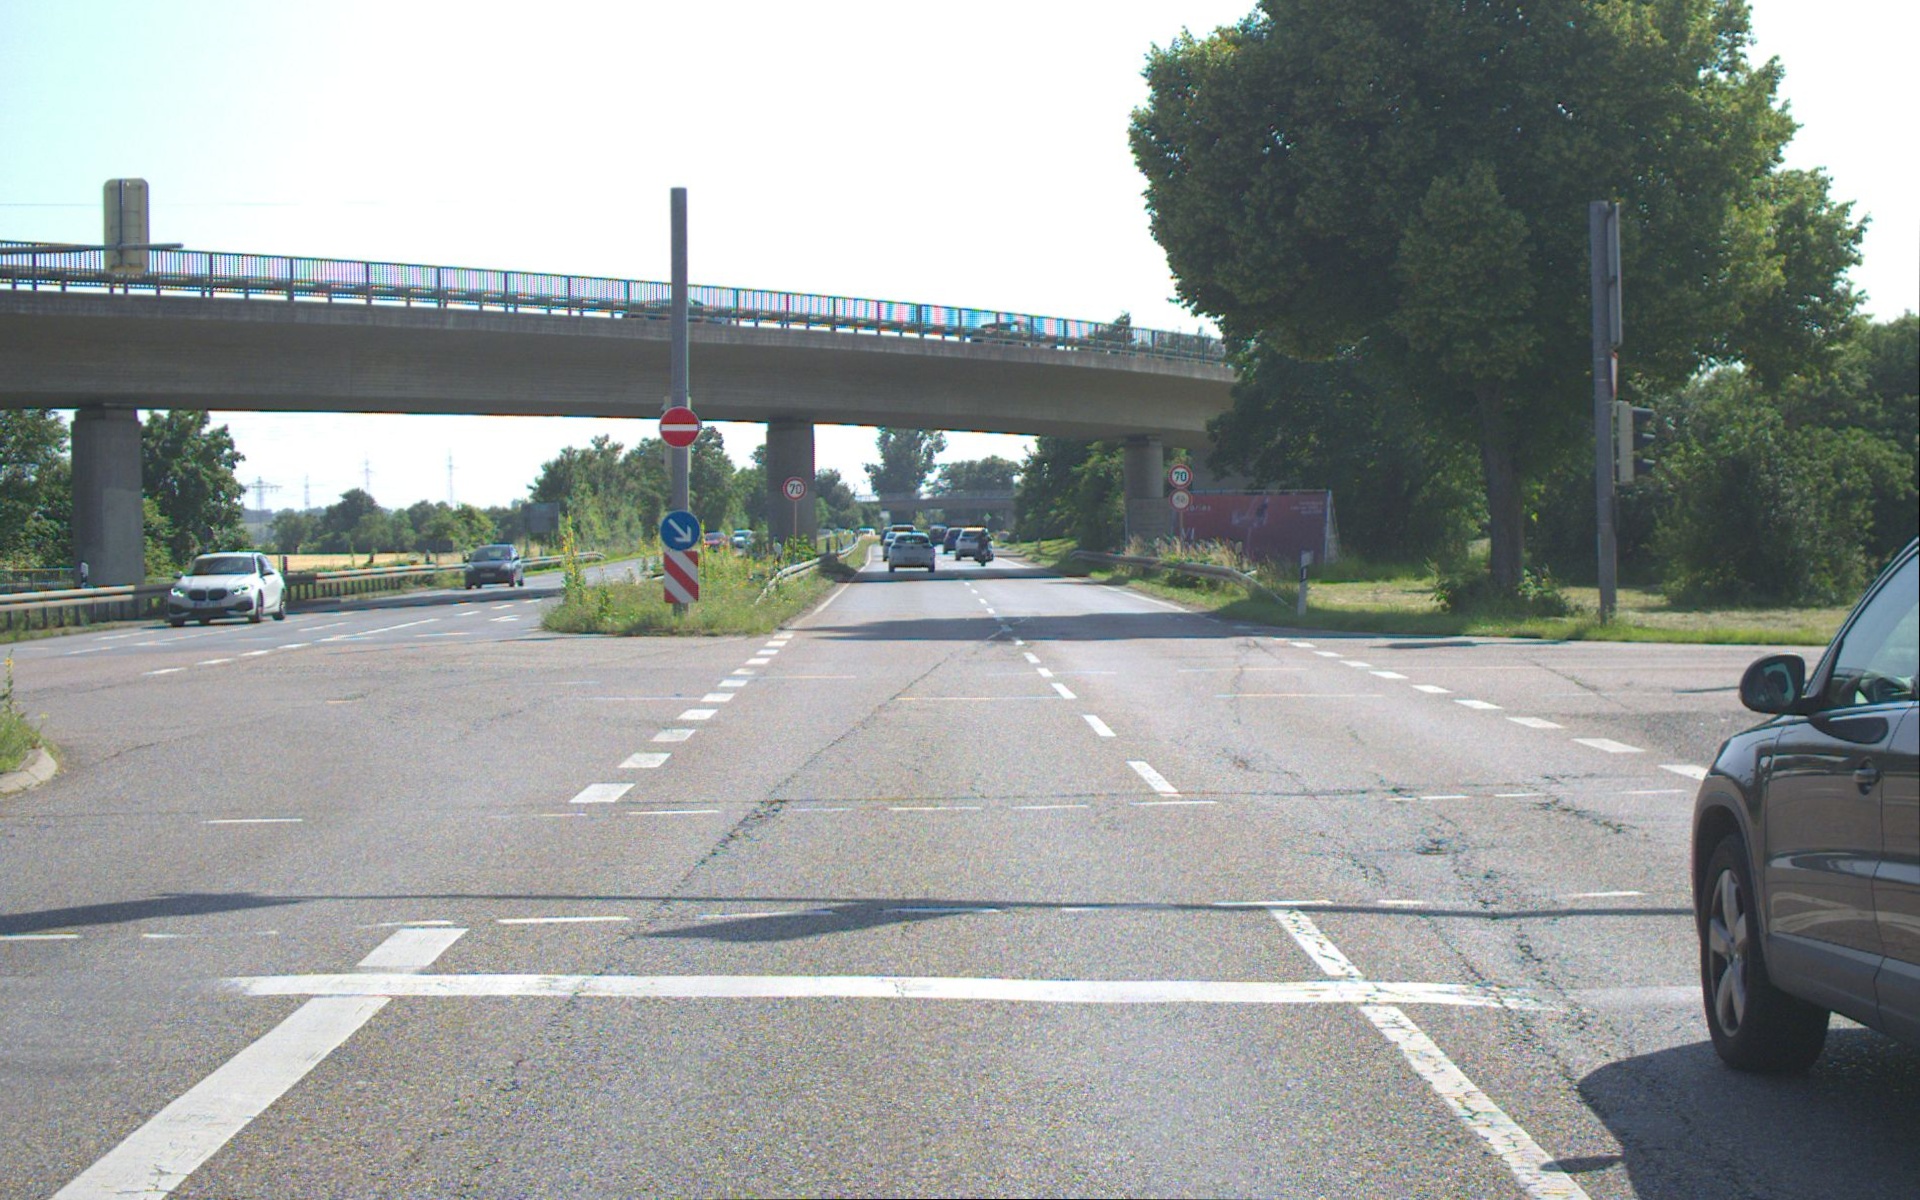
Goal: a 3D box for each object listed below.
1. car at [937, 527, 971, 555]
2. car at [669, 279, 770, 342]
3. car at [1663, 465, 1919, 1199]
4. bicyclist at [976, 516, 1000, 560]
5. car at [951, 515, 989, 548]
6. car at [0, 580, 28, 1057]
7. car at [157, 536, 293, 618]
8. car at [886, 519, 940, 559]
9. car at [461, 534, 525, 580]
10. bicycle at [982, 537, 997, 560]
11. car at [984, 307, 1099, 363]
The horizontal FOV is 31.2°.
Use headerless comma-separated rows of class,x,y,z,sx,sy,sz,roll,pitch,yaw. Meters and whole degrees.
car,-0.390,-3.573,208.513,1.993,1.626,4.000,2,0,-1
car,-6.485,-7.814,92.944,1.321,1.481,3.194,-1,1,25
car,3.038,0.524,8.227,1.755,1.650,4.147,1,1,-1
bicyclist,1.220,-2.683,149.608,1.007,1.880,1.327,-1,1,0
car,0.518,-3.472,174.060,1.874,1.634,4.000,1,1,1
car,-3.526,0.663,7.860,1.673,1.330,4.098,0,1,0
car,-14.968,-0.489,70.200,1.882,1.510,4.148,-4,1,-1
car,-1.731,-2.269,127.604,1.851,1.456,4.000,1,1,1
car,-15.789,-1.458,116.393,1.614,1.437,3.776,-3,1,0
bicycle,1.287,-2.228,149.301,0.600,0.980,2.361,-1,1,0
car,2.633,-8.513,110.702,1.997,1.481,3.993,2,0,30
